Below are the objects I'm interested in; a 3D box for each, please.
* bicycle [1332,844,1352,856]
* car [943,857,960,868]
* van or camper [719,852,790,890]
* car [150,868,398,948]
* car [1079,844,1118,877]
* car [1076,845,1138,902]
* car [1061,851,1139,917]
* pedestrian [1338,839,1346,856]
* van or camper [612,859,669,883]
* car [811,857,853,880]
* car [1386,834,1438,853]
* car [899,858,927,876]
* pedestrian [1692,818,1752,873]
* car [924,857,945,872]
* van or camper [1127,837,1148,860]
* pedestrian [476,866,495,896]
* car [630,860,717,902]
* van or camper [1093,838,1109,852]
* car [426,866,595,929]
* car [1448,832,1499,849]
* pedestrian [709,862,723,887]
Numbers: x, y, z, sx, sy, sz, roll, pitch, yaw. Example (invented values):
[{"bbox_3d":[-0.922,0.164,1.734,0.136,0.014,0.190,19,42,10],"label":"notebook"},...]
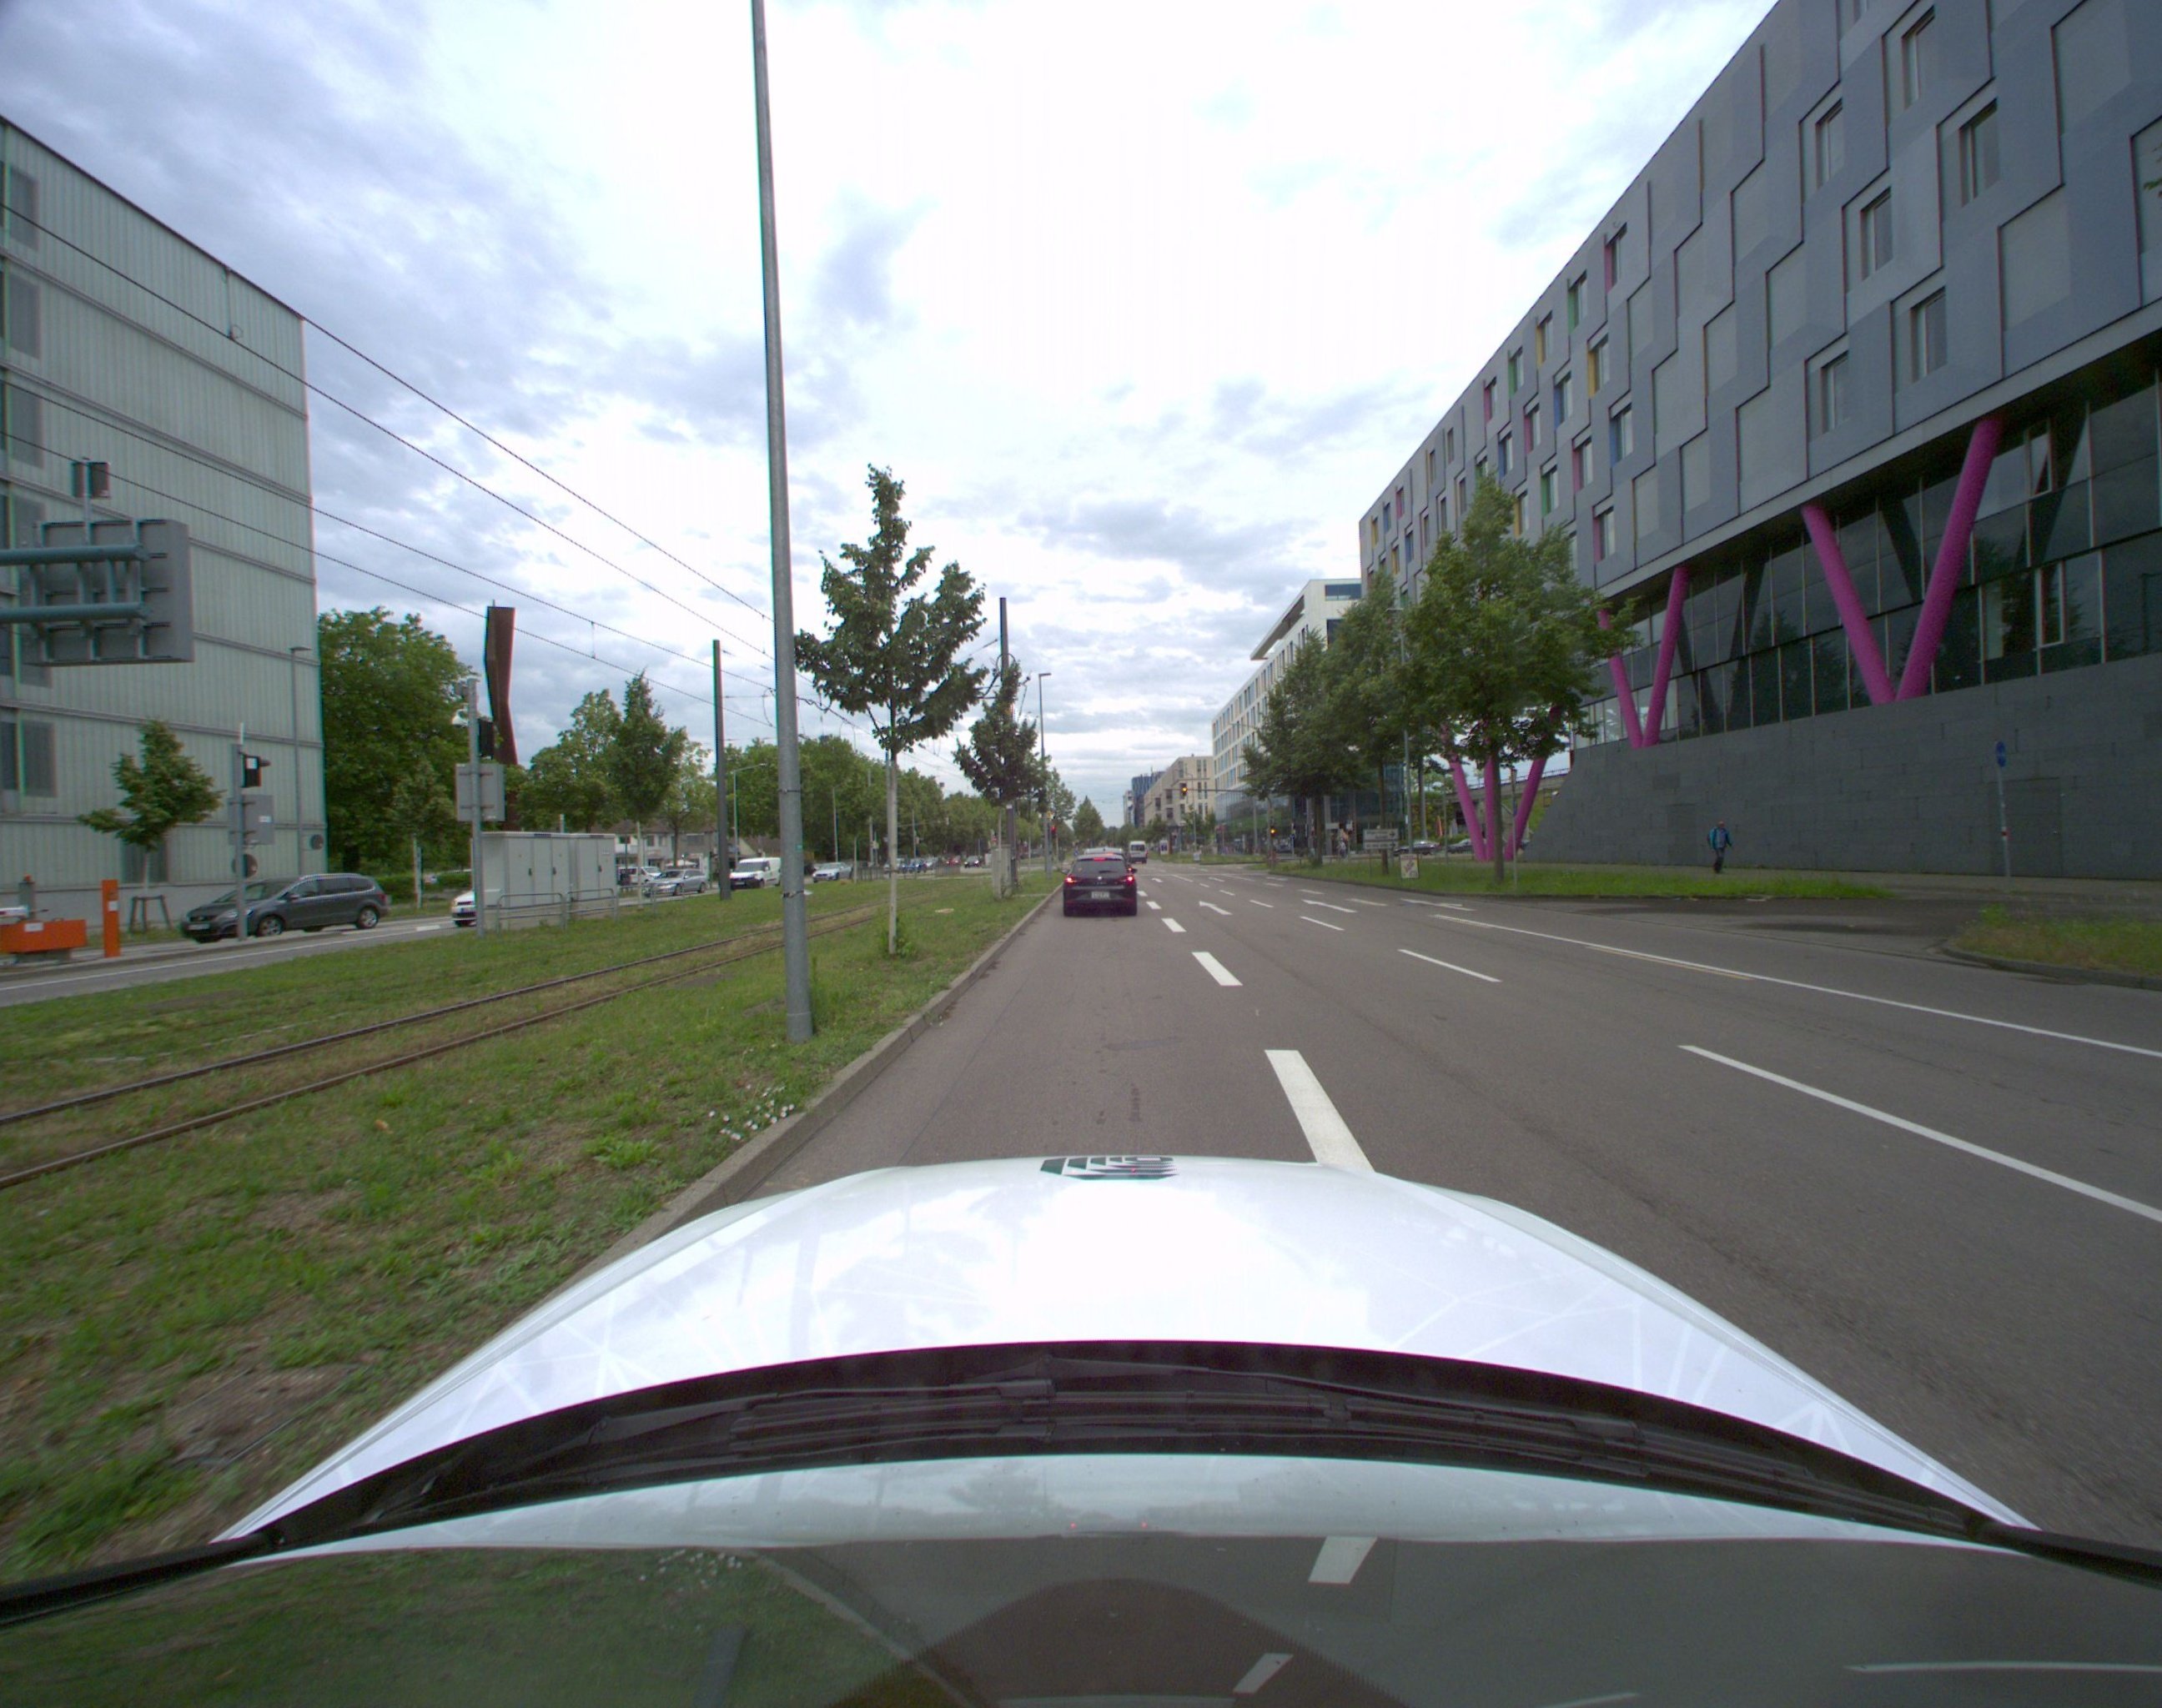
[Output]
[{"bbox_3d":[25.845,-0.392,80.583,1.784,1.085,0.618,-2,0,3],"label":"bicycle"},{"bbox_3d":[-19.723,1.263,124.200,1.789,1.570,4.331,-2,1,3],"label":"car"},{"bbox_3d":[-18.492,0.928,46.356,1.883,1.900,5.124,-3,1,0],"label":"van or camper"},{"bbox_3d":[-22.776,1.421,23.376,1.986,1.823,4.970,-2,1,2],"label":"car"},{"bbox_3d":[1.041,0.330,45.956,1.985,1.681,4.004,-1,1,4],"label":"car"},{"bbox_3d":[0.823,0.564,26.430,1.796,1.624,4.002,-2,1,1],"label":"car"},{"bbox_3d":[0.448,0.657,20.284,1.738,1.417,4.001,-1,1,1],"label":"car"},{"bbox_3d":[25.812,-0.655,80.582,0.612,1.604,0.619,-2,0,3],"label":"pedestrian"},{"bbox_3d":[-41.543,1.608,76.731,5.212,2.013,2.481,-2,1,33],"label":"van or camper"},{"bbox_3d":[-18.476,1.048,60.572,1.724,1.445,4.917,-4,1,-3],"label":"car"},{"bbox_3d":[31.914,-1.022,78.631,4.233,1.614,1.759,-2,1,3],"label":"car"},{"bbox_3d":[-17.472,1.334,84.846,1.958,1.588,4.687,-1,1,-1],"label":"car"},{"bbox_3d":[21.268,-0.291,27.042,1.047,1.770,1.137,-2,1,2],"label":"pedestrian"},{"bbox_3d":[-18.724,1.335,104.213,1.716,1.643,4.673,-2,1,-1],"label":"car"},{"bbox_3d":[6.271,-0.650,90.700,2.101,2.355,4.926,-2,2,2],"label":"van or camper"},{"bbox_3d":[-41.174,1.864,56.288,0.910,2.013,0.942,-3,1,-41],"label":"pedestrian"},{"bbox_3d":[-22.722,1.430,45.704,1.986,2.013,5.297,-2,1,2],"label":"car"},{"bbox_3d":[2.660,-1.162,106.413,1.986,1.615,4.792,-2,2,2],"label":"van or camper"},{"bbox_3d":[-16.678,1.196,24.152,1.757,1.479,4.571,-3,1,-1],"label":"car"},{"bbox_3d":[37.928,-1.337,78.837,4.064,1.455,1.759,-2,1,3],"label":"car"},{"bbox_3d":[-27.595,1.537,61.567,0.779,1.832,0.771,-2,1,-16],"label":"pedestrian"}]
